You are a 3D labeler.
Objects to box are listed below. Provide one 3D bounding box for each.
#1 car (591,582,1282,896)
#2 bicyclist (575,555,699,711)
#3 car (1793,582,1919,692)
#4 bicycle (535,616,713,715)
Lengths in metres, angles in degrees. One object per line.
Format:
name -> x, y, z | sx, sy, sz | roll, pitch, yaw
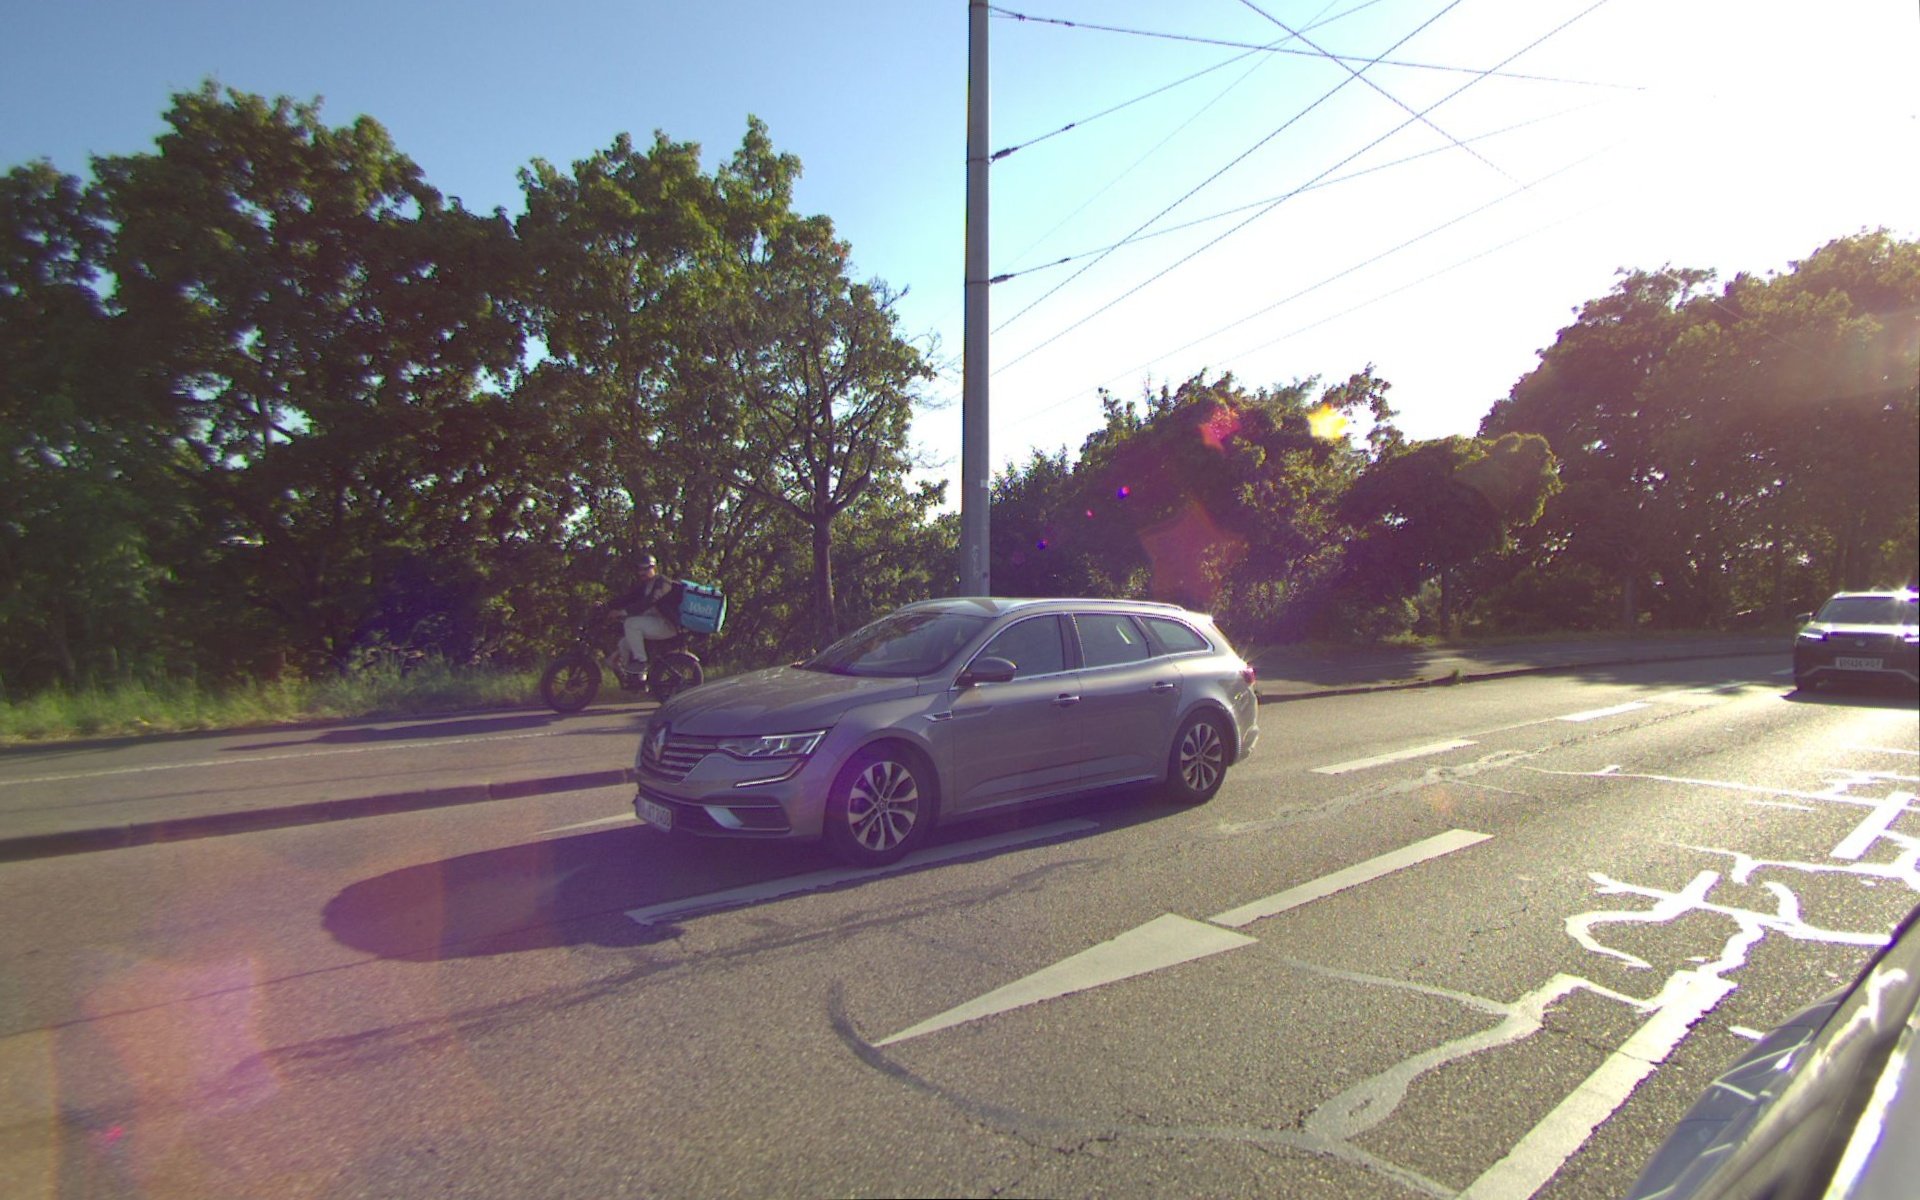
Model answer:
car -> 0.074, 0.621, 6.966 | 4.576, 1.461, 1.881 | -1, 1, -39
bicyclist -> -3.326, 0.307, 10.430 | 1.042, 1.488, 0.628 | -1, 5, -40
car -> 15.677, 0.518, 16.951 | 4.338, 1.620, 1.880 | -1, 1, -40
bicycle -> -3.425, 0.636, 10.383 | 1.606, 0.844, 0.628 | -1, 5, -41
